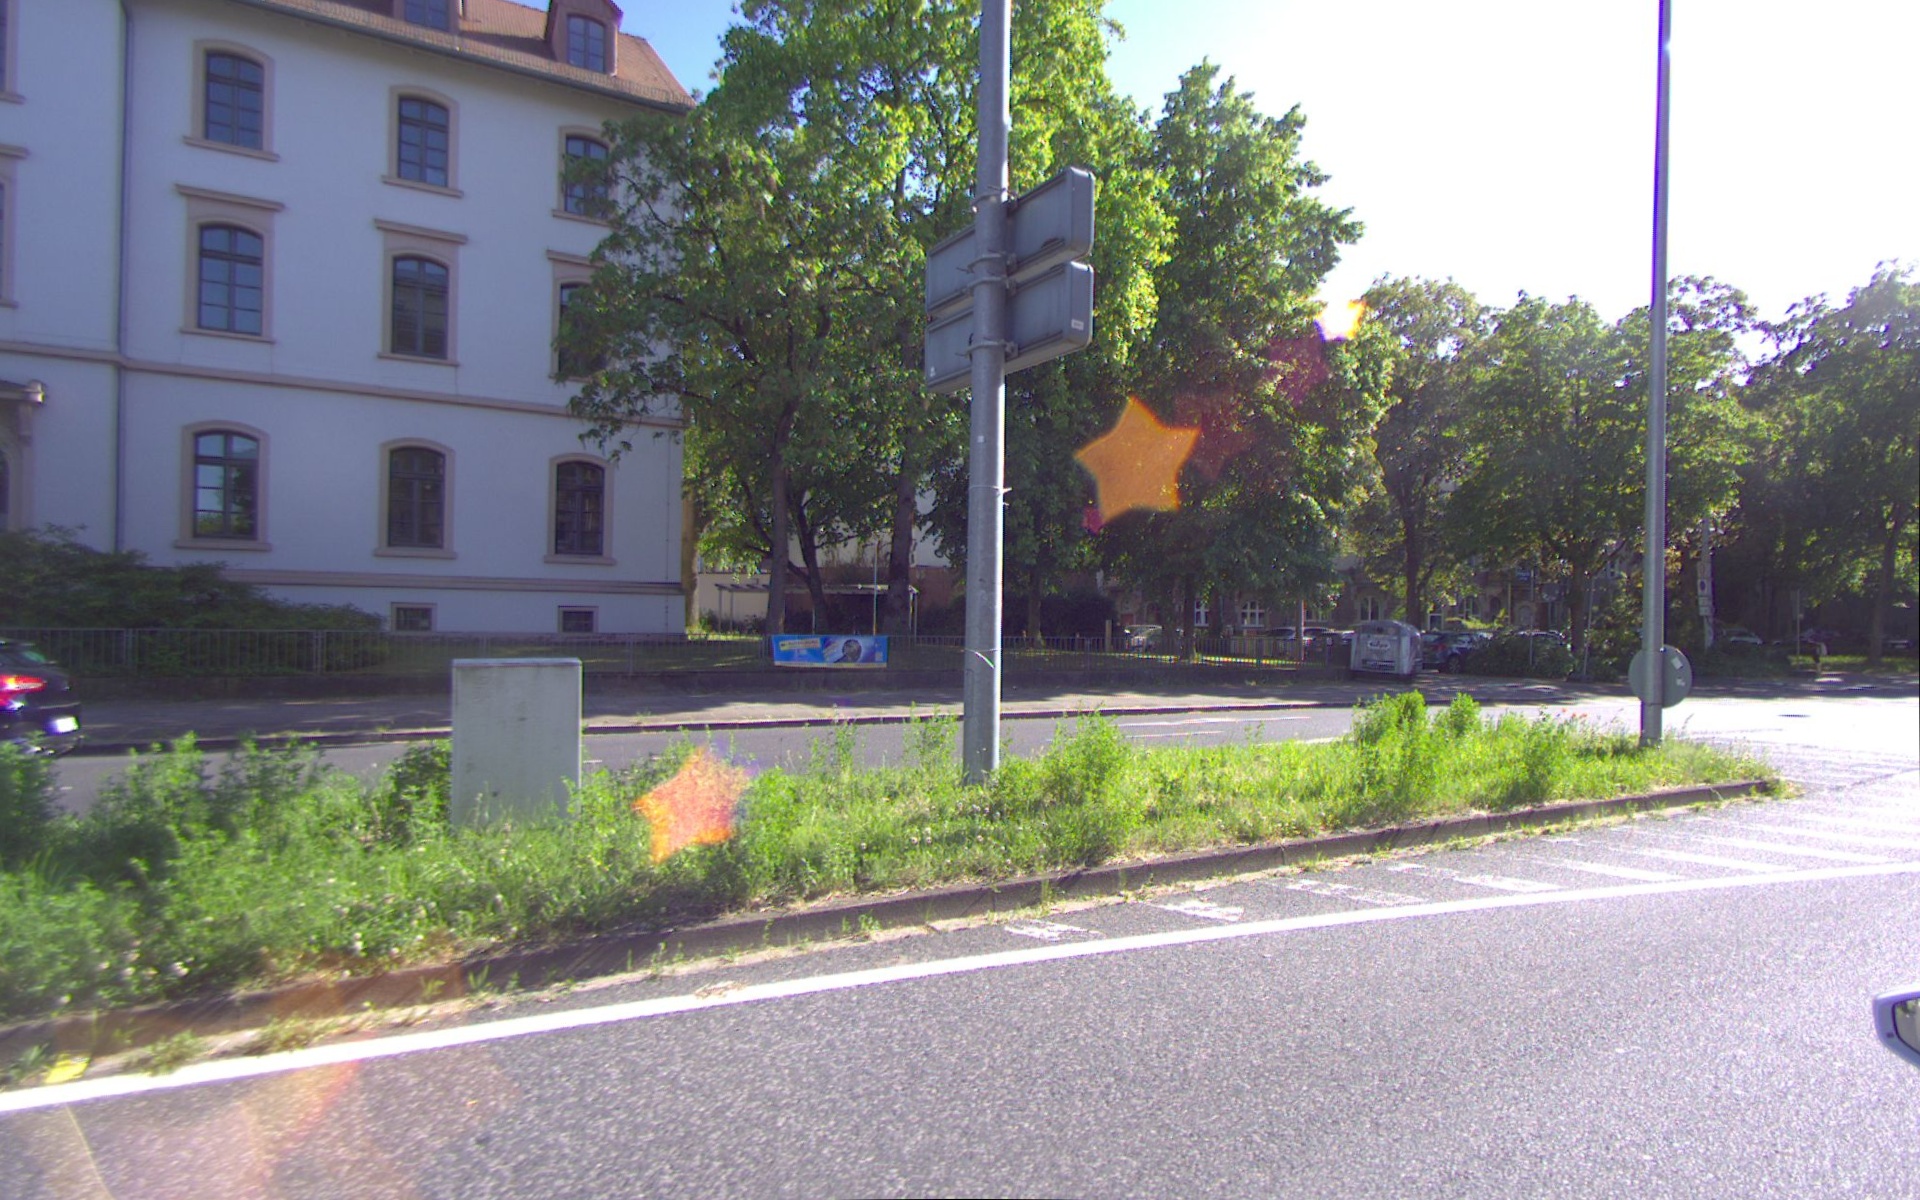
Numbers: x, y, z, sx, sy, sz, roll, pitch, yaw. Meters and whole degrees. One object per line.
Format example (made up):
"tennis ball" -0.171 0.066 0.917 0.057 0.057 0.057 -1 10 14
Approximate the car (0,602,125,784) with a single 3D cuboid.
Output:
"car" -10.217 0.754 8.599 4.365 1.539 1.789 2 0 -26

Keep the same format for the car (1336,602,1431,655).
"car" 22.070 1.478 52.272 4.927 2.354 1.837 5 -2 -30

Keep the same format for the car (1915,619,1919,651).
"car" 52.311 1.882 53.377 1.952 1.684 3.981 0 -1 40

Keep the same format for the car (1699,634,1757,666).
"car" 44.149 2.834 57.829 1.945 1.684 3.995 0 -1 27

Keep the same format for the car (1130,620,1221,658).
"car" 10.200 1.860 47.528 3.953 1.510 1.837 5 -2 -30

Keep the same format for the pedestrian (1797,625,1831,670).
"pedestrian" 31.868 1.773 37.496 0.701 1.648 0.671 1 -1 4

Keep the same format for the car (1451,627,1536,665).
"car" 26.056 2.219 49.061 3.952 1.676 1.837 0 1 -30

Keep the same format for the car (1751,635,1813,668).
"car" 45.646 2.815 55.866 1.946 1.684 3.994 0 -1 29

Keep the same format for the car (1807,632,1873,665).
"car" 47.938 2.604 54.798 1.946 1.684 3.992 0 -1 30

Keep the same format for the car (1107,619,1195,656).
"car" 9.377 1.857 49.374 3.953 1.510 1.837 5 -2 -30

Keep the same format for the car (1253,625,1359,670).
"car" 13.977 1.918 40.573 3.953 1.510 1.837 5 -2 -30

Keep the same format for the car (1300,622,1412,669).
"car" 15.050 1.729 38.112 3.953 1.510 1.837 5 -2 -30

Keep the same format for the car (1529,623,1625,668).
"car" 26.945 2.008 43.832 3.953 1.675 1.837 5 -2 -30
